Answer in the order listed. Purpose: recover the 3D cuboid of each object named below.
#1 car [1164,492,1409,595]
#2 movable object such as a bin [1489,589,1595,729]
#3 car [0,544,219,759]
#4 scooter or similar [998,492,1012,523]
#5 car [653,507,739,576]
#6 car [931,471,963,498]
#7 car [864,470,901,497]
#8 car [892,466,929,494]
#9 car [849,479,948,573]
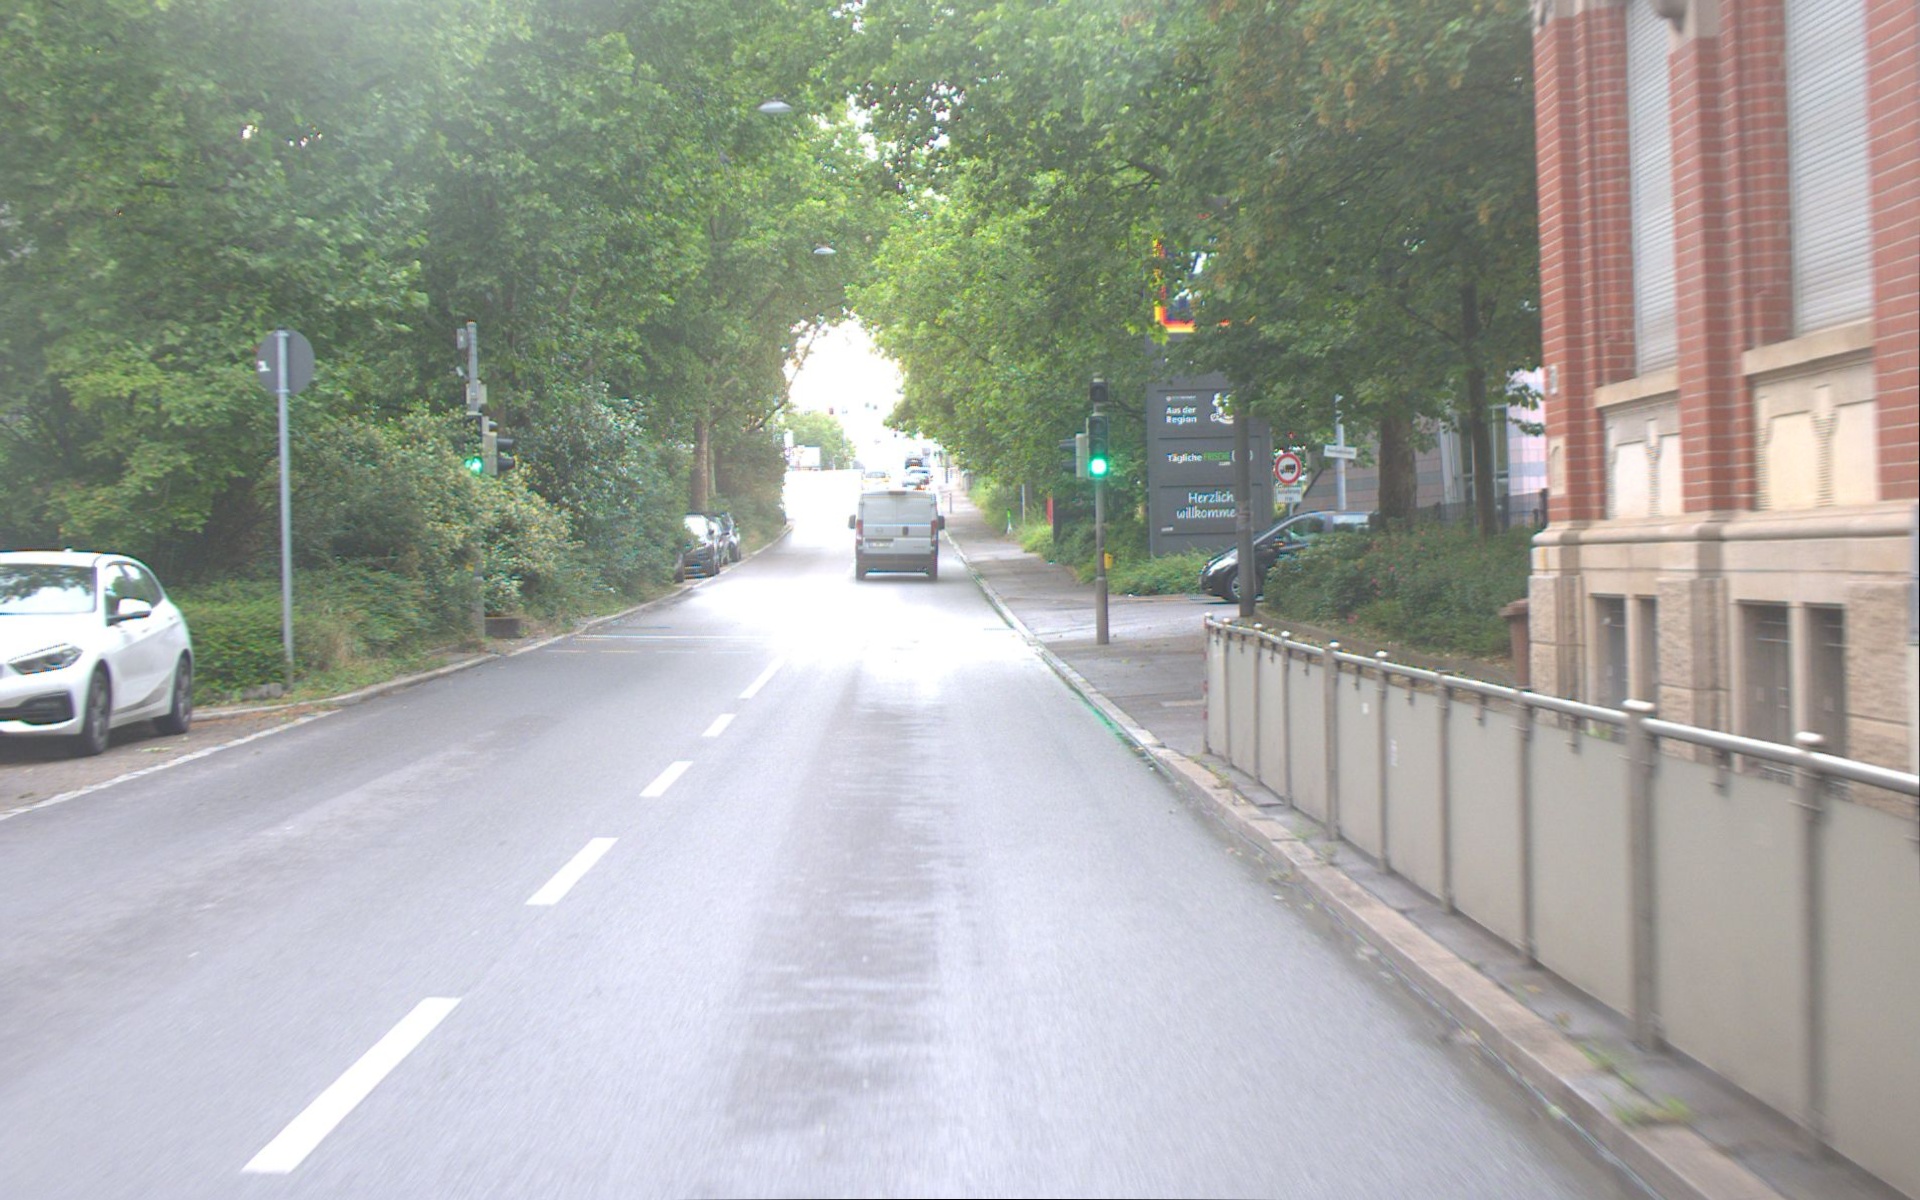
[{"bbox_3d":[5.685,-0.994,60.157,3.848,1.542,2.027,-4,2,-6],"label":"car"},{"bbox_3d":[4.042,0.403,23.905,0.590,0.929,0.572,-3,1,-1],"label":"movable object such as a bin"},{"bbox_3d":[-6.860,0.317,25.701,1.717,1.462,4.310,0,1,0],"label":"car"},{"bbox_3d":[1.687,-3.489,129.953,0.425,1.138,1.529,1,0,-3],"label":"scooter or similar"},{"bbox_3d":[-6.718,-1.516,87.796,1.864,1.585,4.240,-3,2,-1],"label":"car"},{"bbox_3d":[-0.859,-7.884,235.242,1.930,1.703,3.873,1,0,3],"label":"car"},{"bbox_3d":[-5.280,-7.955,235.063,2.159,1.703,3.873,1,0,3],"label":"car"},{"bbox_3d":[-3.225,-7.894,226.814,2.149,1.703,3.873,1,0,3],"label":"car"},{"bbox_3d":[-1.512,-1.827,85.633,2.336,2.223,4.000,-2,1,0],"label":"car"}]
